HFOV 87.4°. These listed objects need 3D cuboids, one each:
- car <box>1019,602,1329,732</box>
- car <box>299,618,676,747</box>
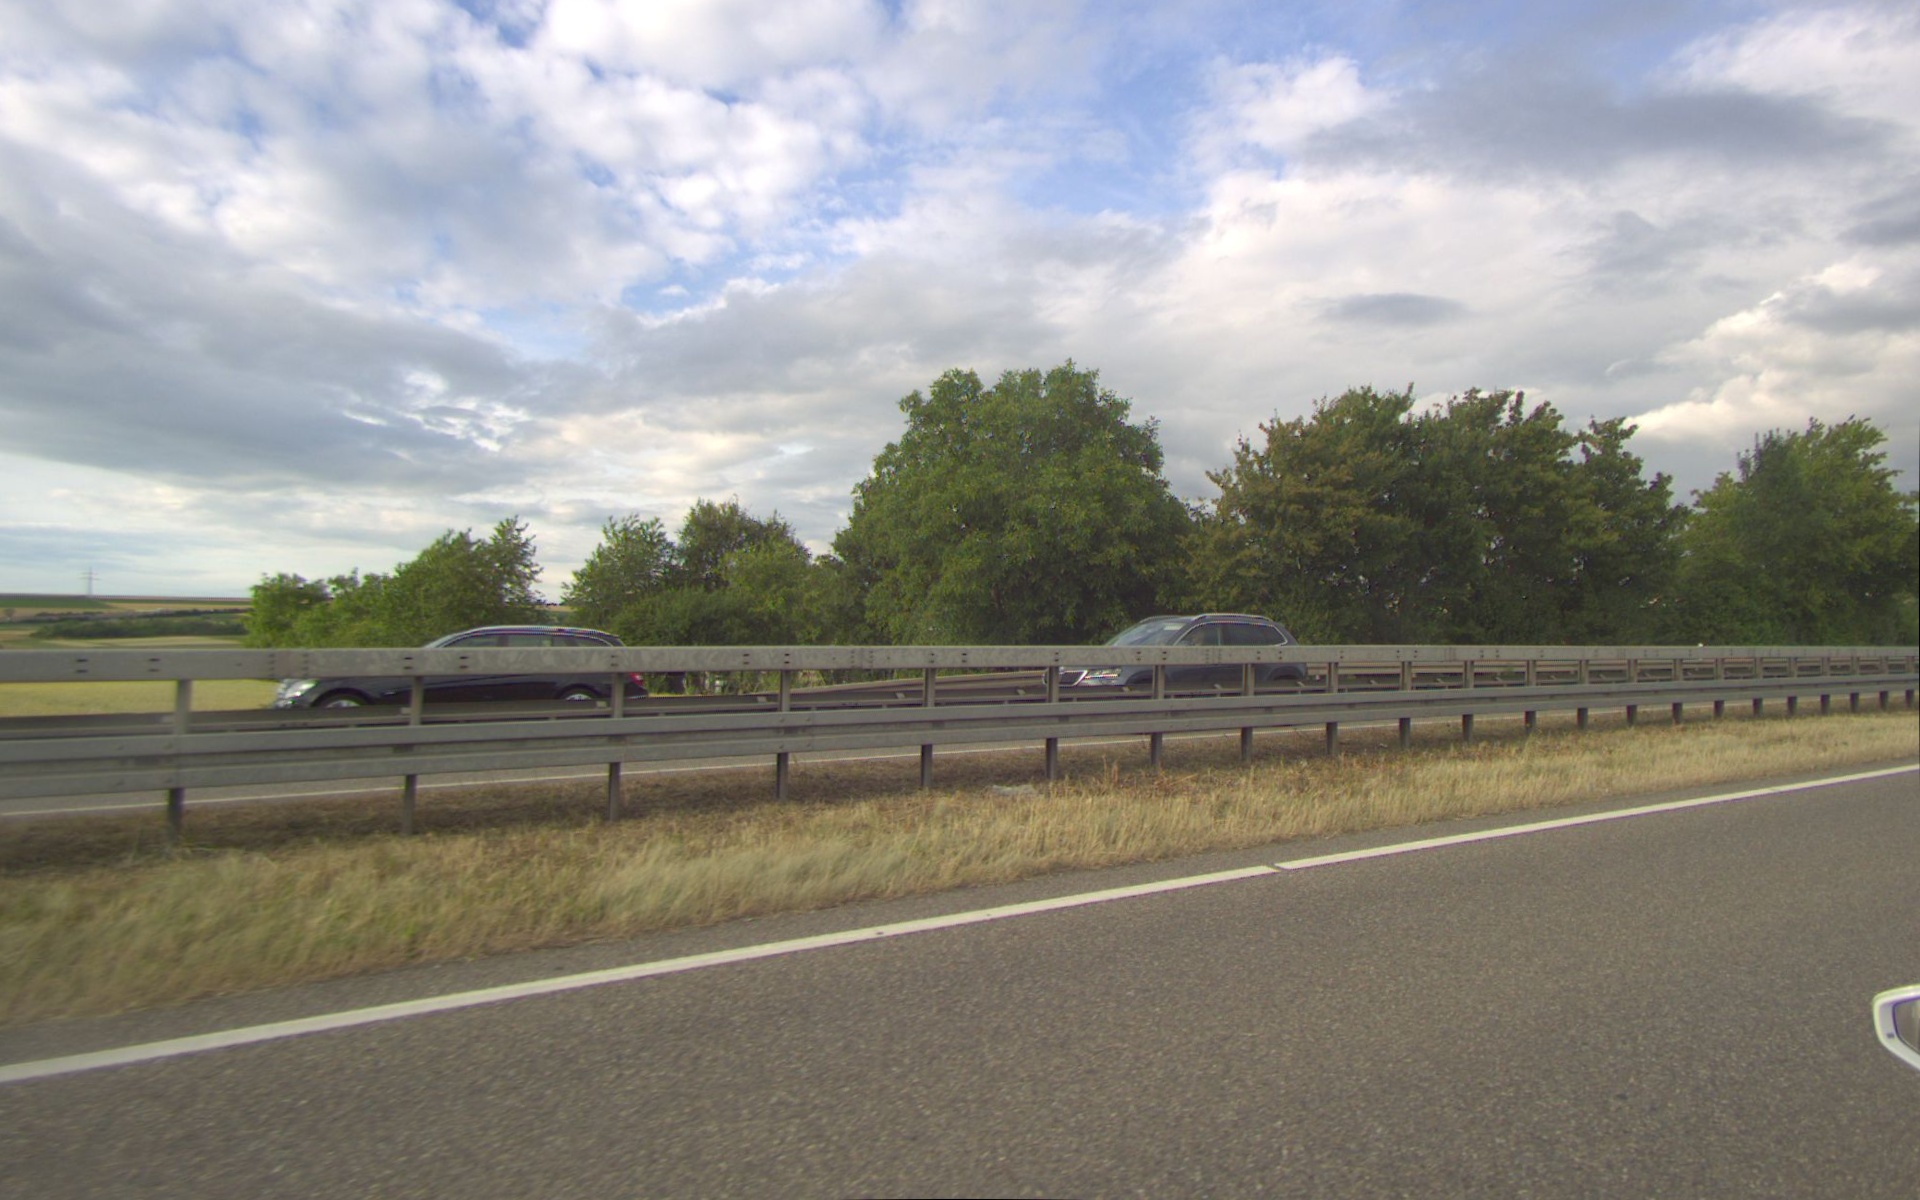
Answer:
[{"bbox_3d":[3.147,0.914,14.530,4.325,1.636,1.790,2,-1,-30],"label":"car"},{"bbox_3d":[-6.388,1.047,13.866,4.409,1.498,1.898,2,-1,-30],"label":"car"}]
